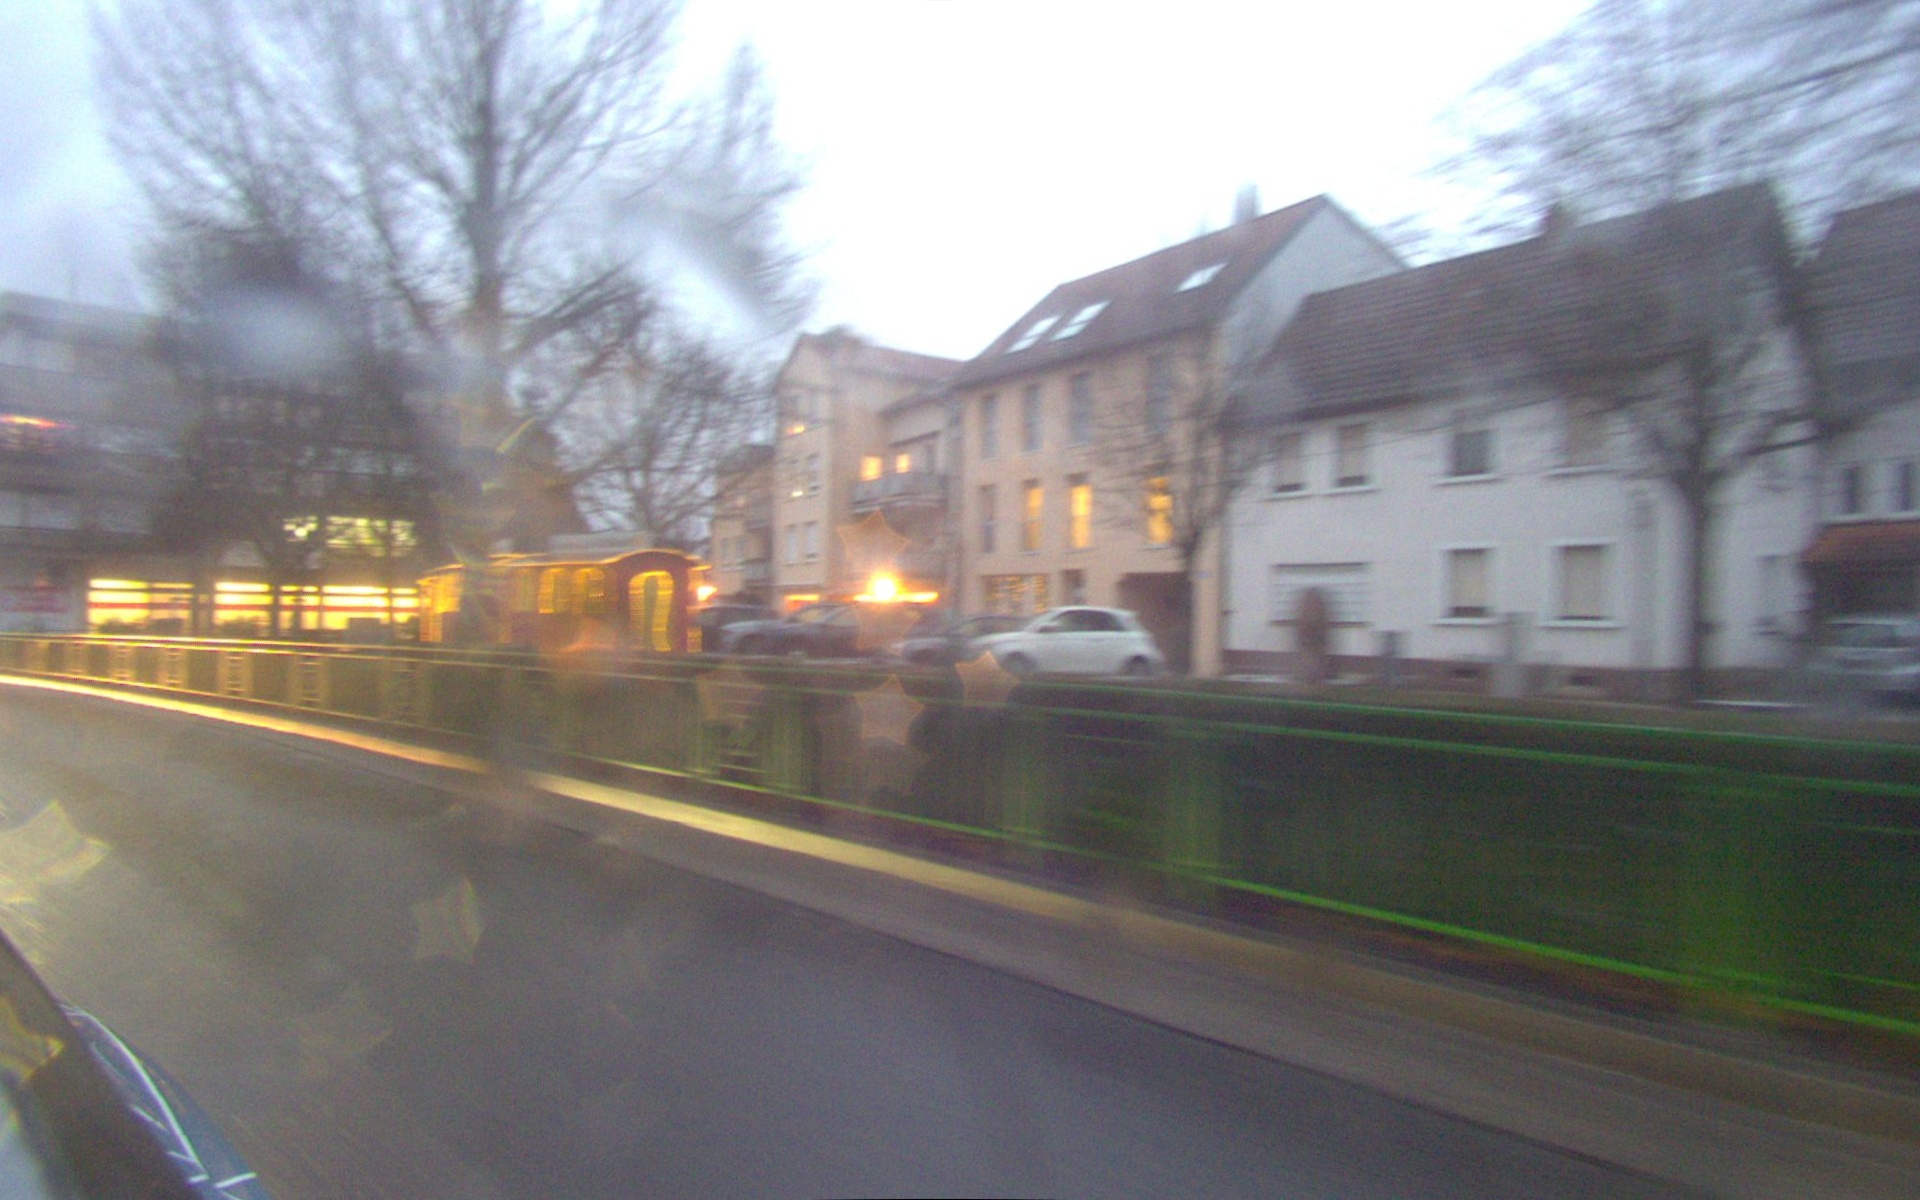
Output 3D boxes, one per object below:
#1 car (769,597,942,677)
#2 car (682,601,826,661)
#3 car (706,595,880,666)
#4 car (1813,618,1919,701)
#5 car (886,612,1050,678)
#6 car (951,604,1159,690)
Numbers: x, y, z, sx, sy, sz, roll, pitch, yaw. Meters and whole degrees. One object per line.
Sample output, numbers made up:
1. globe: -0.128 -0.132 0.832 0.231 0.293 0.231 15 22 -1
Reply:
1. car: -2.333 0.780 22.276 3.574 1.624 1.615 -1 -1 -14
2. car: -5.963 0.877 29.230 3.931 1.645 1.639 0 -2 -18
3. car: -4.103 0.740 24.892 3.930 1.645 1.640 1 -2 -22
4. car: 16.833 1.012 18.193 3.005 1.135 1.533 -5 2 -35
5. car: 0.135 0.882 20.569 3.004 1.229 1.615 -1 -1 -14
6. car: 1.698 0.814 18.501 3.428 1.420 1.614 -1 -1 -12
